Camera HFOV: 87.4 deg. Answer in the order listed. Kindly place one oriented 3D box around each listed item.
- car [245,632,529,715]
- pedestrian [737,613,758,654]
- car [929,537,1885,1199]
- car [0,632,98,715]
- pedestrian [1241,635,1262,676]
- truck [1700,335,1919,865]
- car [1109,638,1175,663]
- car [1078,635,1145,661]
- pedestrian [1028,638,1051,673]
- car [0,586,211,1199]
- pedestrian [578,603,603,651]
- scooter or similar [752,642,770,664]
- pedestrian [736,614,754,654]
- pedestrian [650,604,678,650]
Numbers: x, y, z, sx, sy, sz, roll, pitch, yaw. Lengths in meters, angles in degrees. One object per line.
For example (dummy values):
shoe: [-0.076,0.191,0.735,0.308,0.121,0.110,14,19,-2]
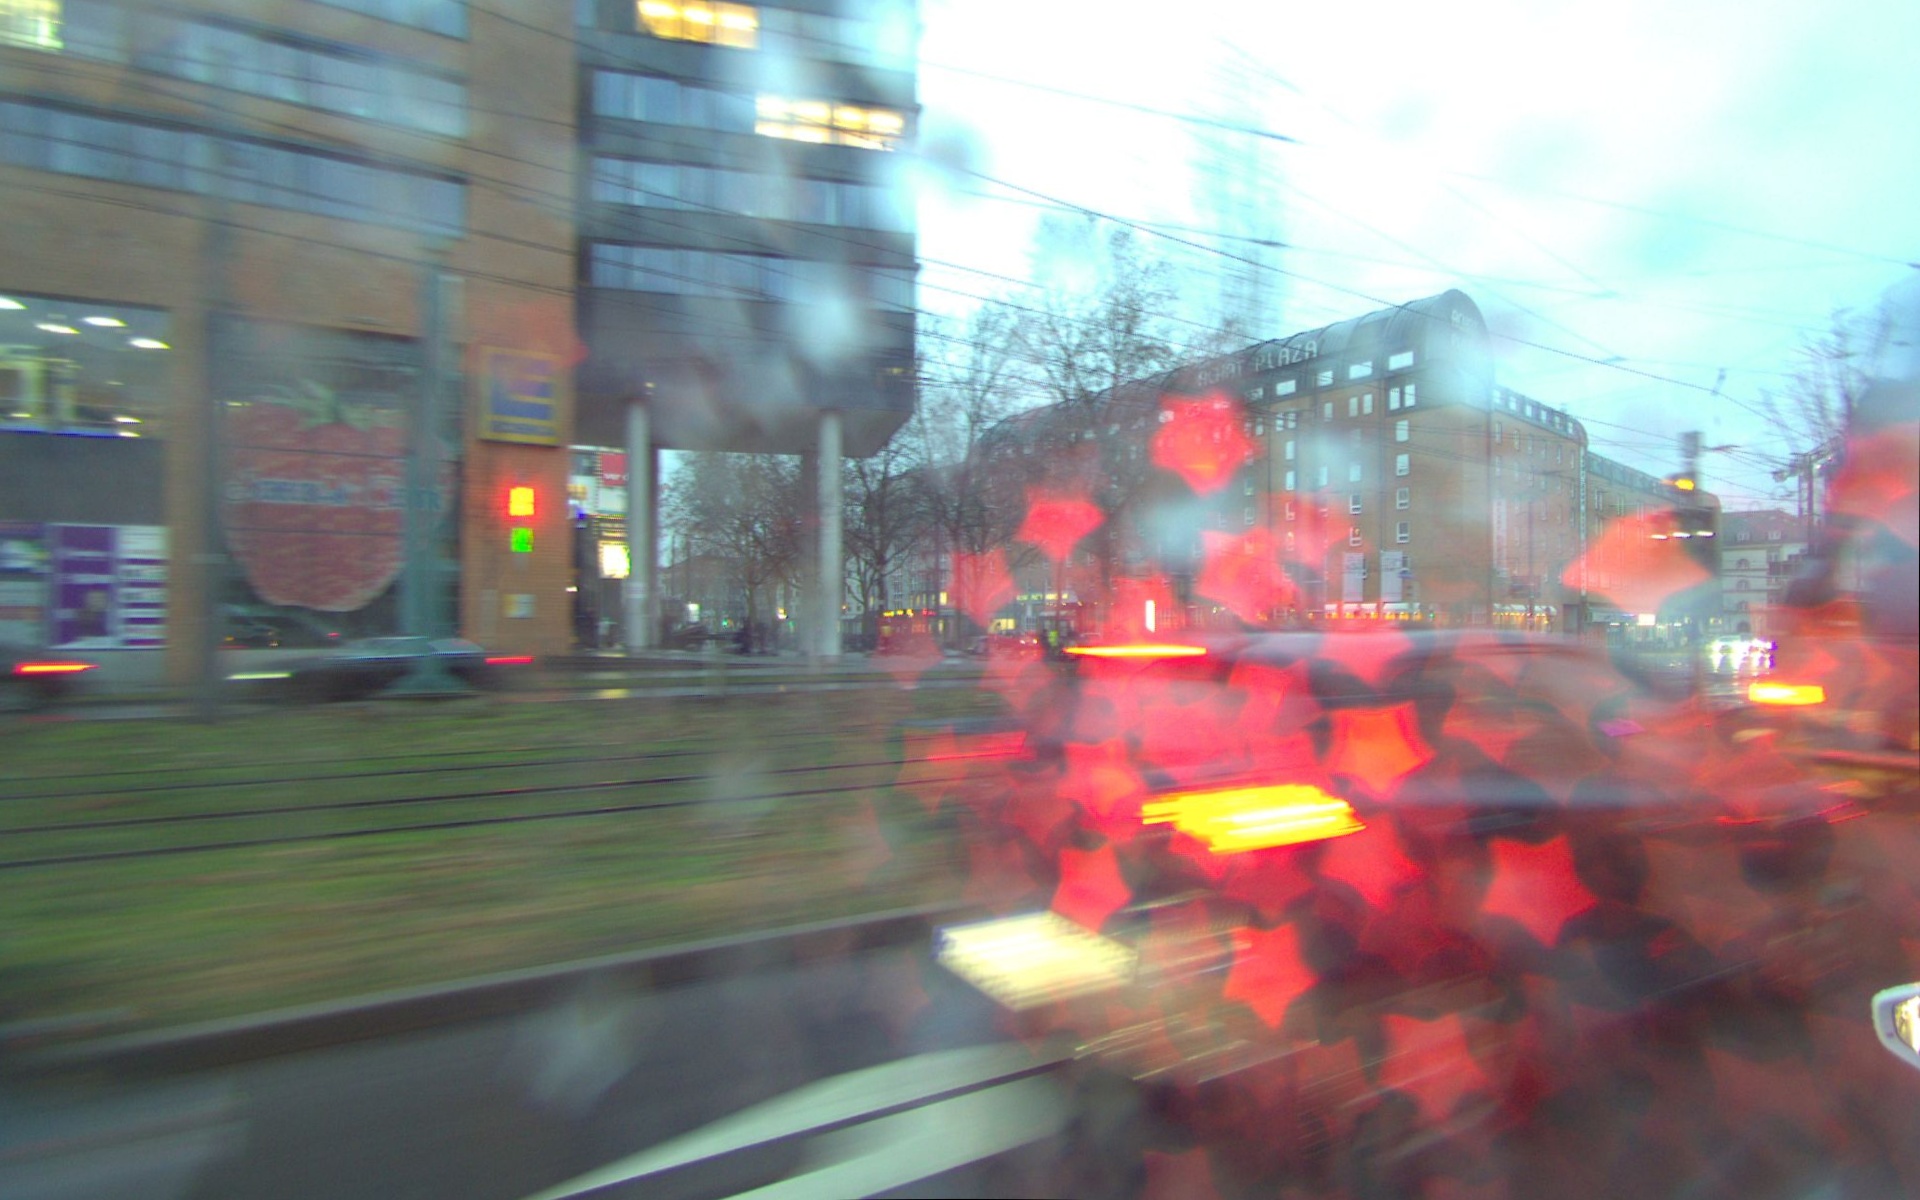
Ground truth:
car: [-10.771,1.309,19.066,4.525,1.348,1.613,1,0,-37]
pedestrian: [-9.204,1.446,43.502,0.697,1.775,0.566,1,-1,-35]
car: [1.955,0.700,3.981,3.900,1.543,1.620,2,-2,-33]
car: [-19.303,1.377,19.031,4.241,1.524,1.830,1,-1,-32]
pedestrian: [11.081,2.121,38.243,0.609,1.532,0.515,1,-2,-40]
truck: [9.817,0.065,8.955,7.447,3.681,2.822,1,-2,-34]
car: [11.180,3.103,61.994,1.975,1.446,3.970,1,-2,-29]
car: [8.887,2.791,59.255,1.975,1.446,3.970,1,-2,-29]
pedestrian: [3.502,2.448,44.295,0.733,1.519,0.668,1,-2,-44]
car: [-3.105,0.642,0.630,4.009,1.363,1.747,1,-1,-30]
pedestrian: [-13.608,0.992,37.017,0.526,1.775,0.664,0,-1,29]
scooter or similar: [-8.906,2.370,44.892,0.657,0.973,0.550,1,-2,-27]
pedestrian: [-9.559,1.510,44.608,0.629,1.797,0.569,1,-2,-26]
pedestrian: [-11.563,1.073,39.255,0.690,1.775,0.794,0,-1,16]
